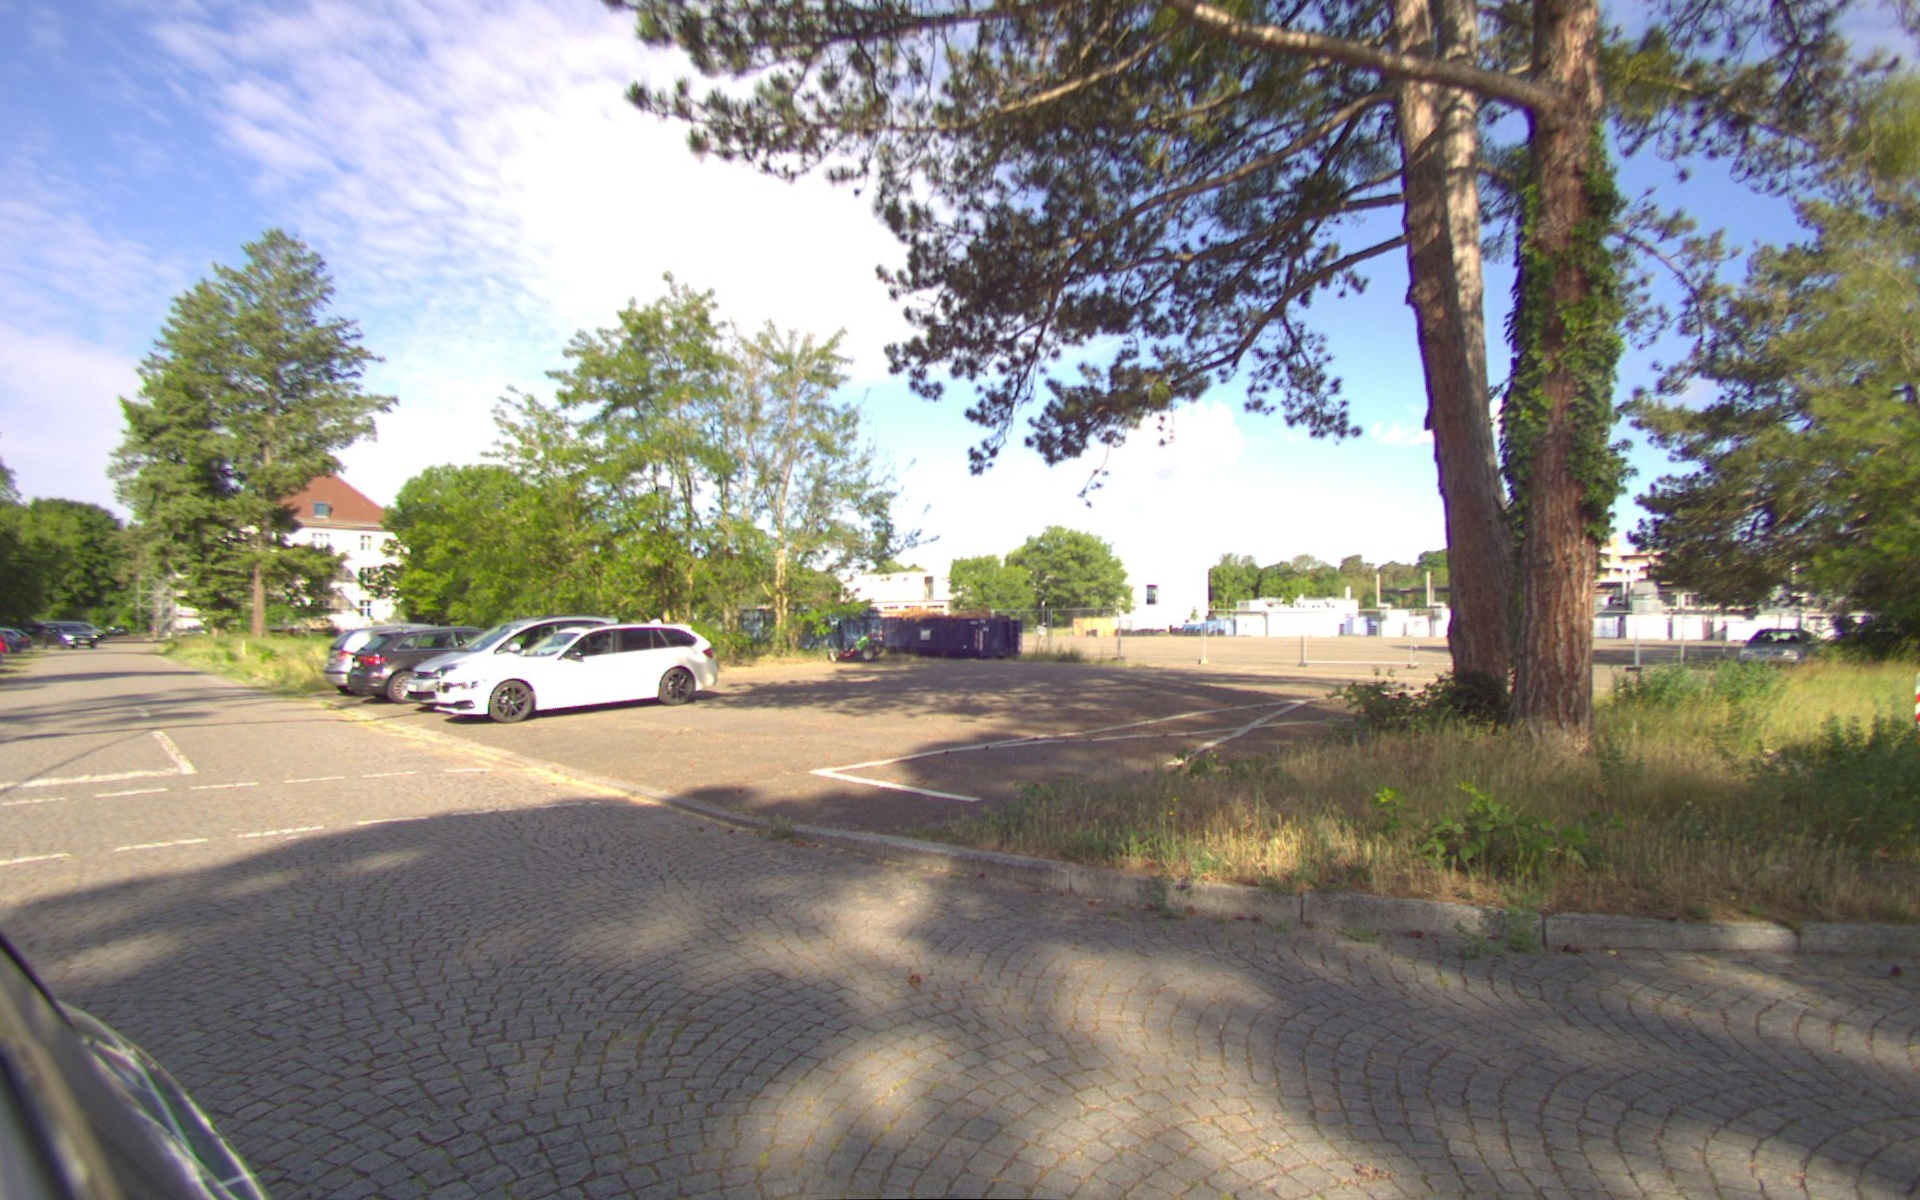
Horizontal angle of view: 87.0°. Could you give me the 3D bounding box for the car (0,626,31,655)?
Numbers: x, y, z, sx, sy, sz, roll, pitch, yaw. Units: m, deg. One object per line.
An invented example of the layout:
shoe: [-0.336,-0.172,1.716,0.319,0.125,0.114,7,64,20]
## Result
car: [-56.837,2.423,58.828,3.935,1.627,1.761,-2,1,-37]

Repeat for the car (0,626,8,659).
car: [-47.615,2.008,47.590,3.935,1.530,1.760,1,-2,-38]

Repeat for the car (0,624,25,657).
car: [-53.950,2.265,55.349,3.936,1.754,1.760,-1,-1,-38]

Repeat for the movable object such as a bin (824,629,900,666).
movable object such as a bin: [-3.067,1.486,31.954,2.251,1.116,0.999,1,-2,-43]

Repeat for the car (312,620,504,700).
car: [-12.212,1.259,22.493,3.424,1.482,1.638,-3,1,-44]

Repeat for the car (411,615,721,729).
car: [-6.451,1.096,16.938,4.488,1.478,1.754,-2,0,-44]

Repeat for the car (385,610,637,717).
car: [-8.239,1.079,18.791,1.722,1.638,3.899,-2,0,44]

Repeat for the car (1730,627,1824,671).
car: [27.380,1.599,33.891,3.564,1.381,1.750,1,-2,-39]

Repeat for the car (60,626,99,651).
car: [-58.625,2.539,67.377,1.841,1.597,4.004,1,-2,-43]

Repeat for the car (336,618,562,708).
car: [-10.295,1.205,20.516,3.751,1.482,1.690,-3,1,-42]

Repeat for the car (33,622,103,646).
car: [-86.515,3.256,98.227,4.993,2.282,2.003,1,-2,-41]
